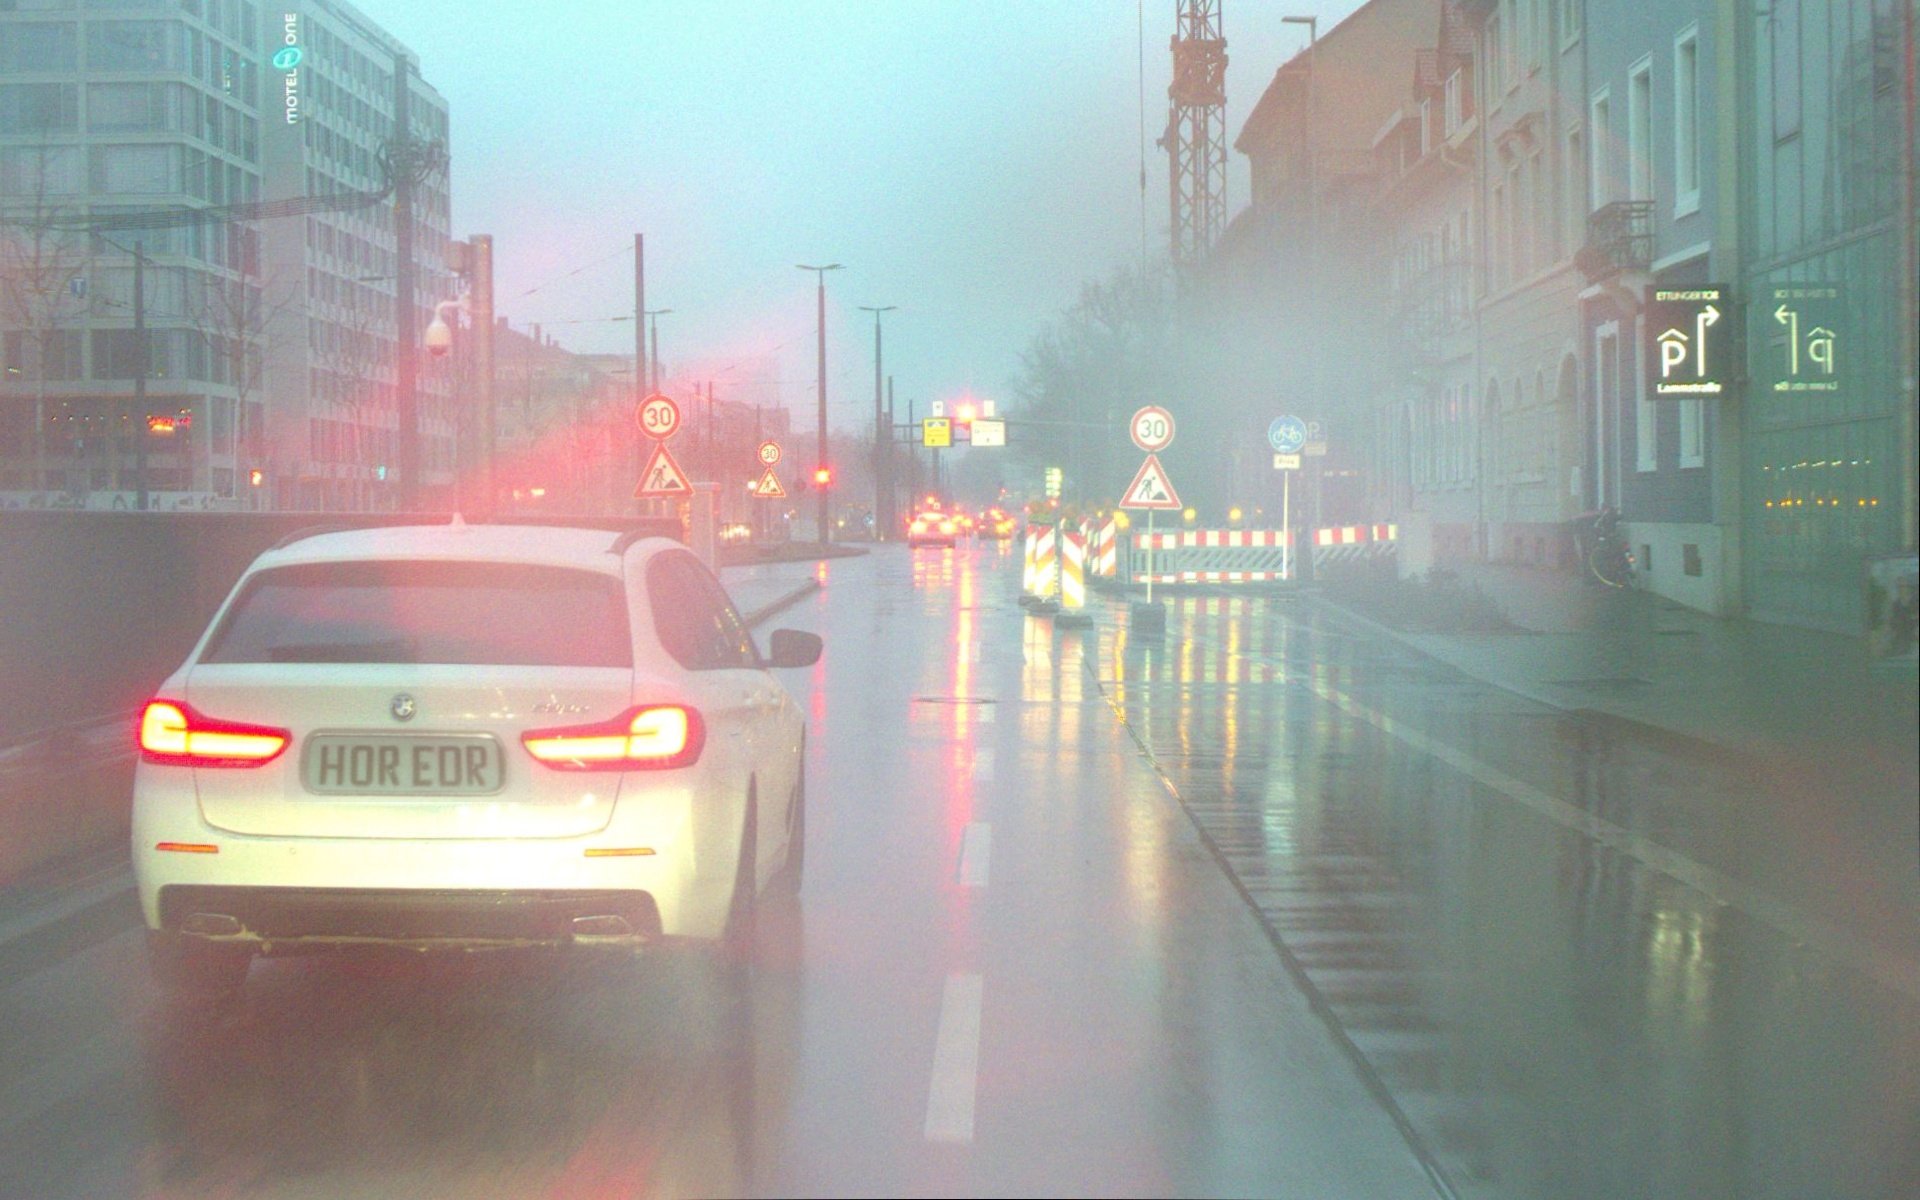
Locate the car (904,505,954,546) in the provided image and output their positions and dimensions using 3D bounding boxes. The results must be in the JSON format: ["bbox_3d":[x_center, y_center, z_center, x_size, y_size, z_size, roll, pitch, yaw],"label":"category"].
[{"bbox_3d":[-1.248,-3.032,139.986,1.901,1.636,4.000,1,1,1],"label":"car"}]

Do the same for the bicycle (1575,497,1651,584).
[{"bbox_3d":[9.635,-0.882,50.774,0.682,1.218,1.906,-3,1,0],"label":"bicycle"}]

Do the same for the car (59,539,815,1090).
[{"bbox_3d":[-1.547,0.549,11.944,1.852,1.460,4.947,0,2,0],"label":"car"}]
